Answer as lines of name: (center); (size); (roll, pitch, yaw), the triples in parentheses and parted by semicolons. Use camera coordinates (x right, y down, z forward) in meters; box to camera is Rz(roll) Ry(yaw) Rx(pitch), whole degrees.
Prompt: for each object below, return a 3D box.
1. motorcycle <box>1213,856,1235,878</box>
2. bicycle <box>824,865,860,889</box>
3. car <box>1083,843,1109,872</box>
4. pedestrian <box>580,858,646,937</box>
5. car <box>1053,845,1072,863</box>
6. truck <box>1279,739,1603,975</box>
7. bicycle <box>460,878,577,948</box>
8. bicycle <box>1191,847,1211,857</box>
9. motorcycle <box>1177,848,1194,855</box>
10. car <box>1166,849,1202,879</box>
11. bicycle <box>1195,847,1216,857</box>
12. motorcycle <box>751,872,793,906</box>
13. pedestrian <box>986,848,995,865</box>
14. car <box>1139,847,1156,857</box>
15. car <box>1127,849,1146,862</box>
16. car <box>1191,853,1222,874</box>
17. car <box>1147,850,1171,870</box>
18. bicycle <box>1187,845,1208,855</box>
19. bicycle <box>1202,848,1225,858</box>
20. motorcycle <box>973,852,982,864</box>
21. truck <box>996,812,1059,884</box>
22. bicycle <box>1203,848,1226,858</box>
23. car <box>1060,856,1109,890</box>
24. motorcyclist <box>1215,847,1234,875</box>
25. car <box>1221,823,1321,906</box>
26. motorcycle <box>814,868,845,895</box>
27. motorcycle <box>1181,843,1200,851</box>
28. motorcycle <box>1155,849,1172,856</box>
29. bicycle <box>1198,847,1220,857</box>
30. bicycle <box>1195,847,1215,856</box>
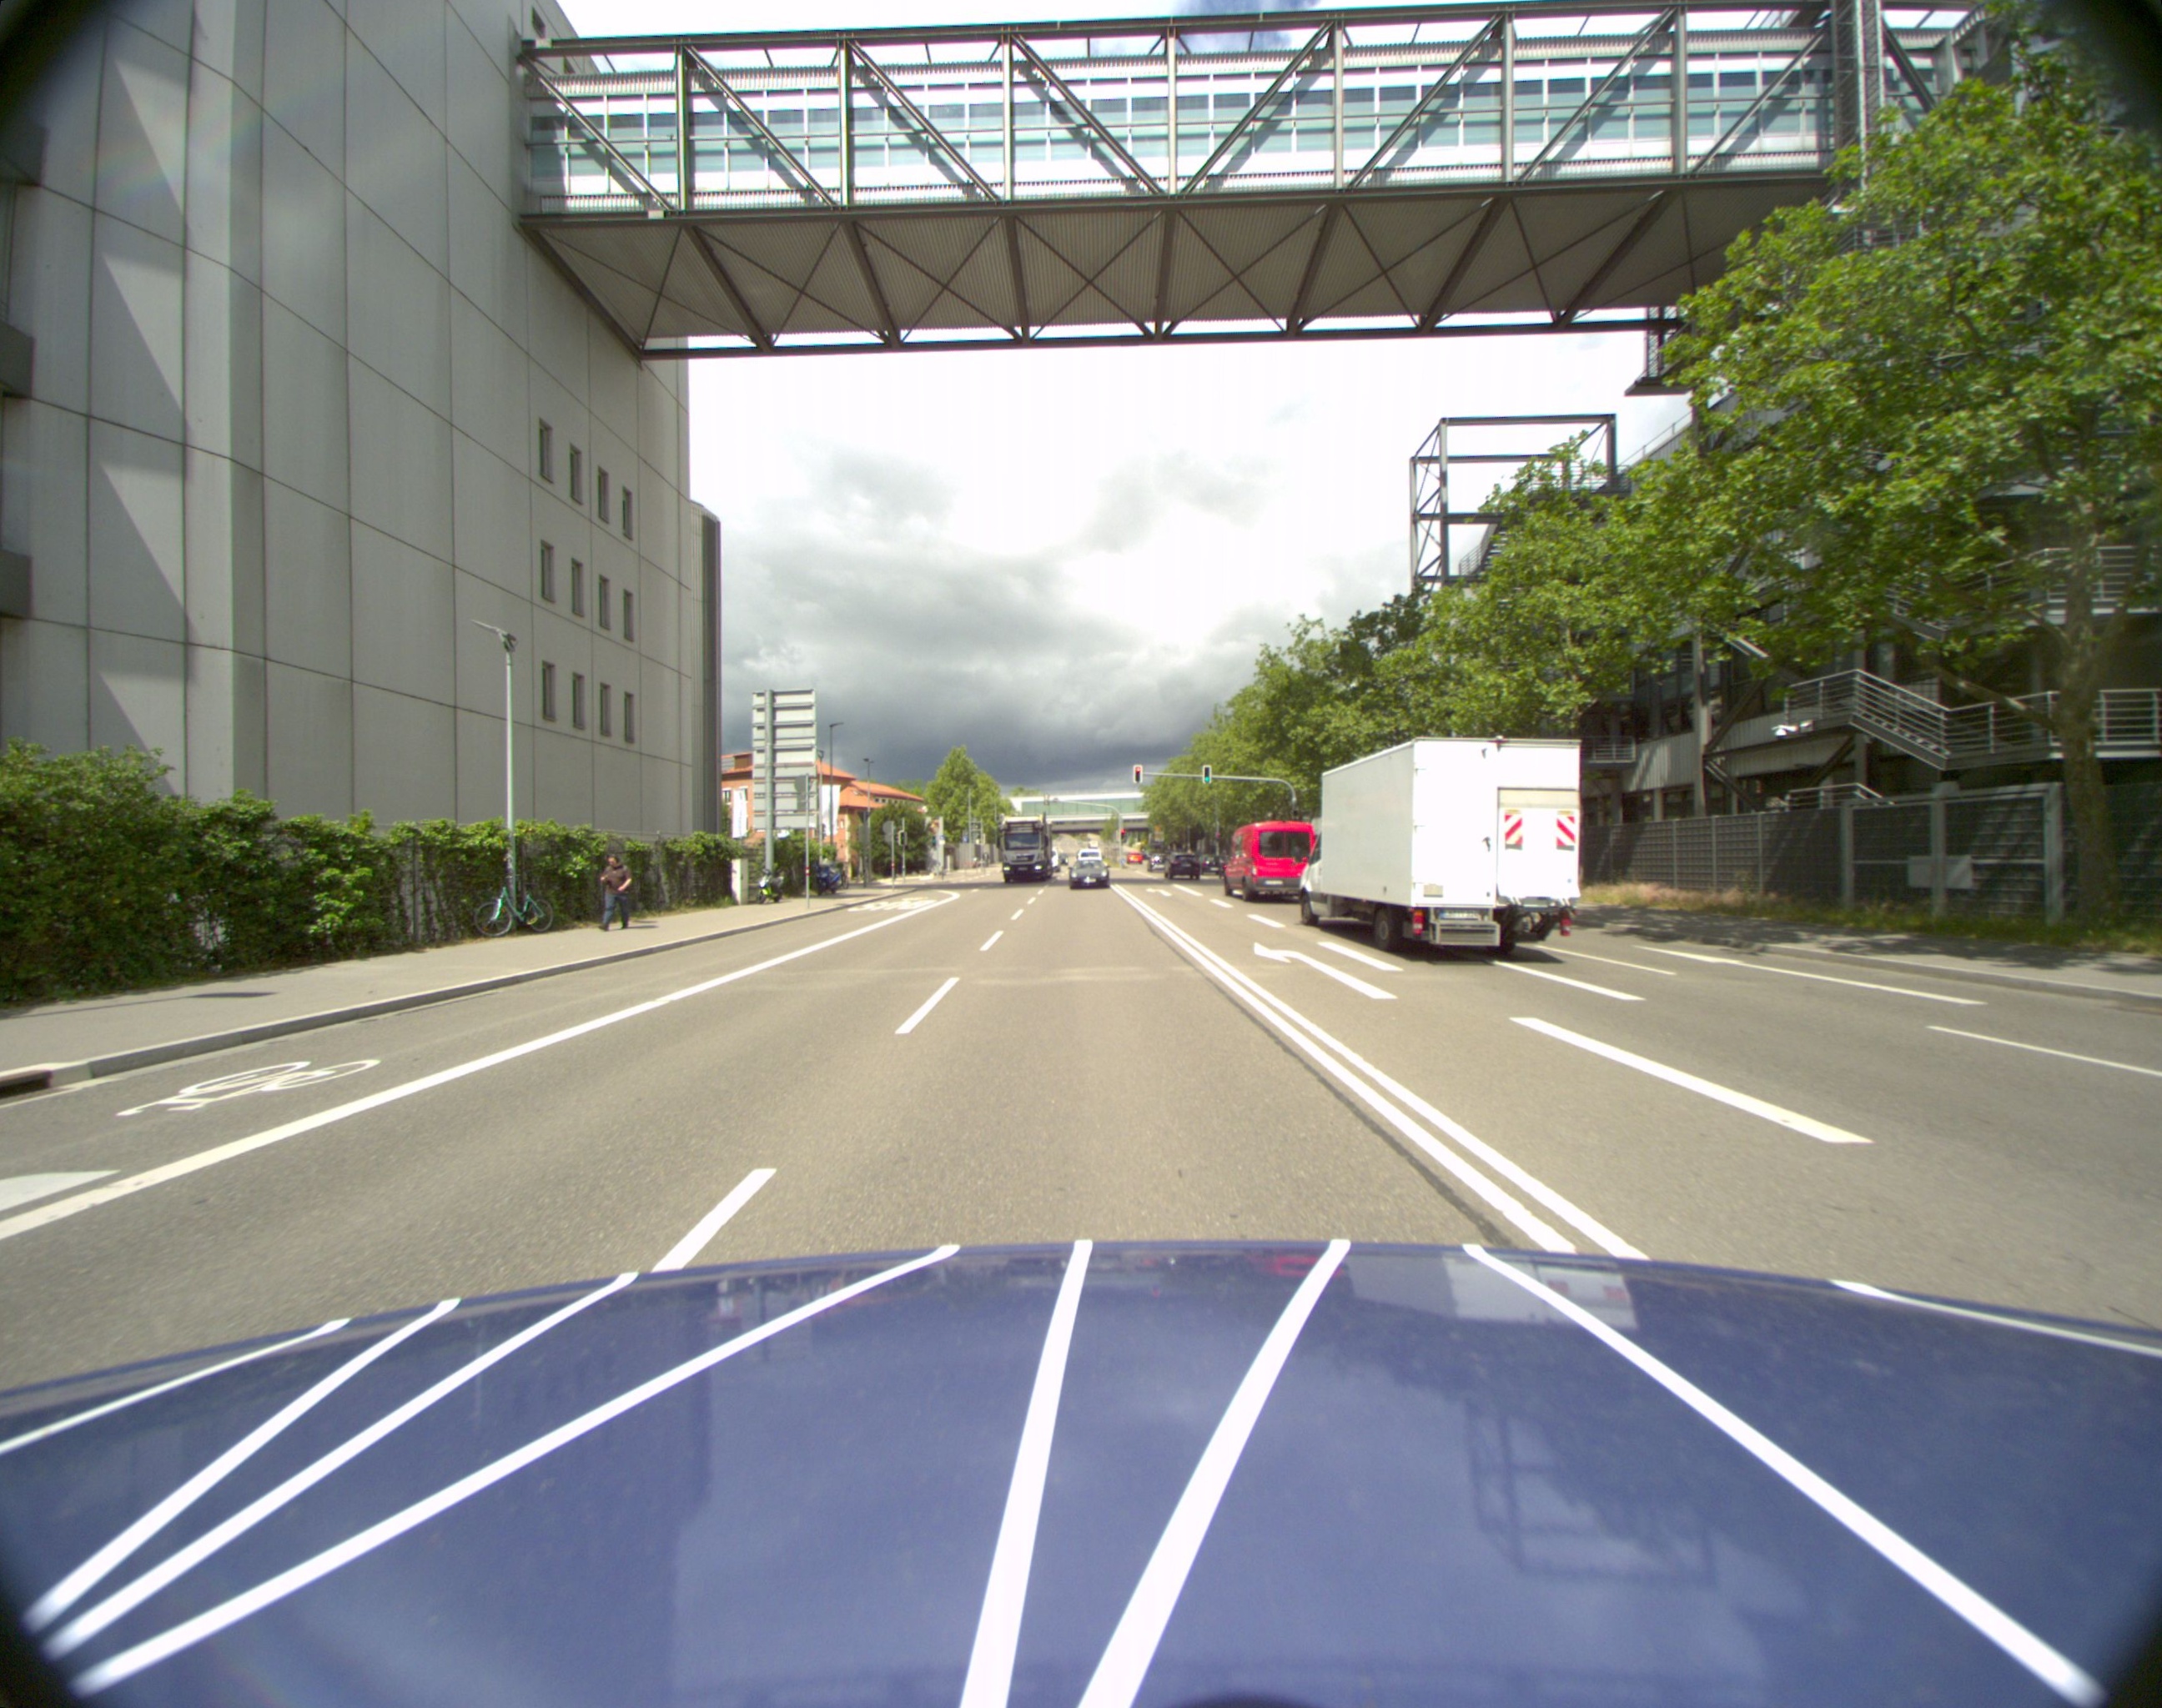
motorcycle: (8.531, 0.774, 45.339); (0.676, 1.213, 2.375); (-2, 1, -3)
bicycle: (-11.483, 1.073, 36.502); (1.964, 1.121, 0.547); (-1, -1, 35)
car: (1.083, 0.308, 56.733); (1.824, 2.001, 4.392); (-1, -1, 1)
pedestrian: (-10.140, 0.925, 16.492); (0.811, 1.635, 0.997); (0, 1, -1)
car: (-2.088, -0.026, 89.052); (1.871, 1.944, 4.711); (-3, 1, 2)
truck: (5.691, 0.019, 13.660); (2.458, 3.110, 7.243); (0, 0, 1)
bicycle: (-11.239, 1.130, 15.308); (0.444, 1.173, 2.468); (-2, 1, 1)
bicycle: (15.258, -0.272, 96.705); (2.561, 1.079, 0.616); (-2, 1, 6)
motorcycle: (17.074, -0.447, 124.196); (2.830, 1.029, 0.600); (-2, -2, 4)
car: (6.120, 0.545, 45.594); (1.740, 1.674, 4.213); (-1, 1, 2)
bicycle: (15.680, -0.262, 95.476); (2.560, 1.079, 0.616); (-2, 1, 13)
motorcycle: (-10.496, 1.158, 25.880); (0.592, 1.061, 2.037); (0, 0, 1)
pedestrian: (-9.425, 0.230, 79.186); (0.729, 1.756, 1.015); (-2, 1, 1)
car: (9.703, -0.268, 111.822); (1.999, 1.446, 4.767); (1, 1, -1)
car: (6.491, 0.197, 88.824); (1.889, 1.446, 3.902); (1, 1, 0)
car: (8.878, 0.647, 53.933); (1.580, 1.420, 3.919); (1, 1, 0)
car: (6.150, 0.484, 60.140); (1.561, 1.496, 3.613); (1, 1, 1)
bicycle: (15.391, -0.508, 100.278); (2.562, 1.171, 0.615); (-2, 1, 1)
bicycle: (15.521, -0.098, 88.835); (2.561, 1.079, 0.616); (-2, 1, 6)
motorcycle: (-10.343, 0.398, 76.068); (0.570, 1.219, 2.175); (0, 1, 1)
truck: (-3.110, -0.421, 47.261); (2.713, 3.863, 10.740); (-2, 1, 1)
bicycle: (15.745, -0.064, 89.629); (2.561, 1.079, 0.616); (-2, 1, 8)
car: (0.219, 0.816, 34.001); (1.838, 1.317, 4.002); (-3, -1, 5)
motorcyclist: (8.534, 0.414, 45.325); (0.735, 1.613, 1.094); (-2, 1, -9)
car: (6.213, 0.293, 25.613); (2.068, 2.492, 5.480); (0, 0, 1)
motorcycle: (-10.495, 1.140, 31.766); (0.592, 1.061, 2.037); (1, 0, 1)
motorcycle: (17.381, -1.137, 120.827); (2.830, 1.029, 0.600); (-2, -2, 4)
motorcycle: (13.972, -0.225, 128.530); (2.830, 1.029, 0.600); (-2, -2, 4)
bicycle: (15.473, -0.208, 91.882); (2.564, 1.079, 0.615); (-2, 1, -8)
bicycle: (15.864, -0.335, 97.497); (2.413, 1.079, 0.615); (-2, 1, 0)
